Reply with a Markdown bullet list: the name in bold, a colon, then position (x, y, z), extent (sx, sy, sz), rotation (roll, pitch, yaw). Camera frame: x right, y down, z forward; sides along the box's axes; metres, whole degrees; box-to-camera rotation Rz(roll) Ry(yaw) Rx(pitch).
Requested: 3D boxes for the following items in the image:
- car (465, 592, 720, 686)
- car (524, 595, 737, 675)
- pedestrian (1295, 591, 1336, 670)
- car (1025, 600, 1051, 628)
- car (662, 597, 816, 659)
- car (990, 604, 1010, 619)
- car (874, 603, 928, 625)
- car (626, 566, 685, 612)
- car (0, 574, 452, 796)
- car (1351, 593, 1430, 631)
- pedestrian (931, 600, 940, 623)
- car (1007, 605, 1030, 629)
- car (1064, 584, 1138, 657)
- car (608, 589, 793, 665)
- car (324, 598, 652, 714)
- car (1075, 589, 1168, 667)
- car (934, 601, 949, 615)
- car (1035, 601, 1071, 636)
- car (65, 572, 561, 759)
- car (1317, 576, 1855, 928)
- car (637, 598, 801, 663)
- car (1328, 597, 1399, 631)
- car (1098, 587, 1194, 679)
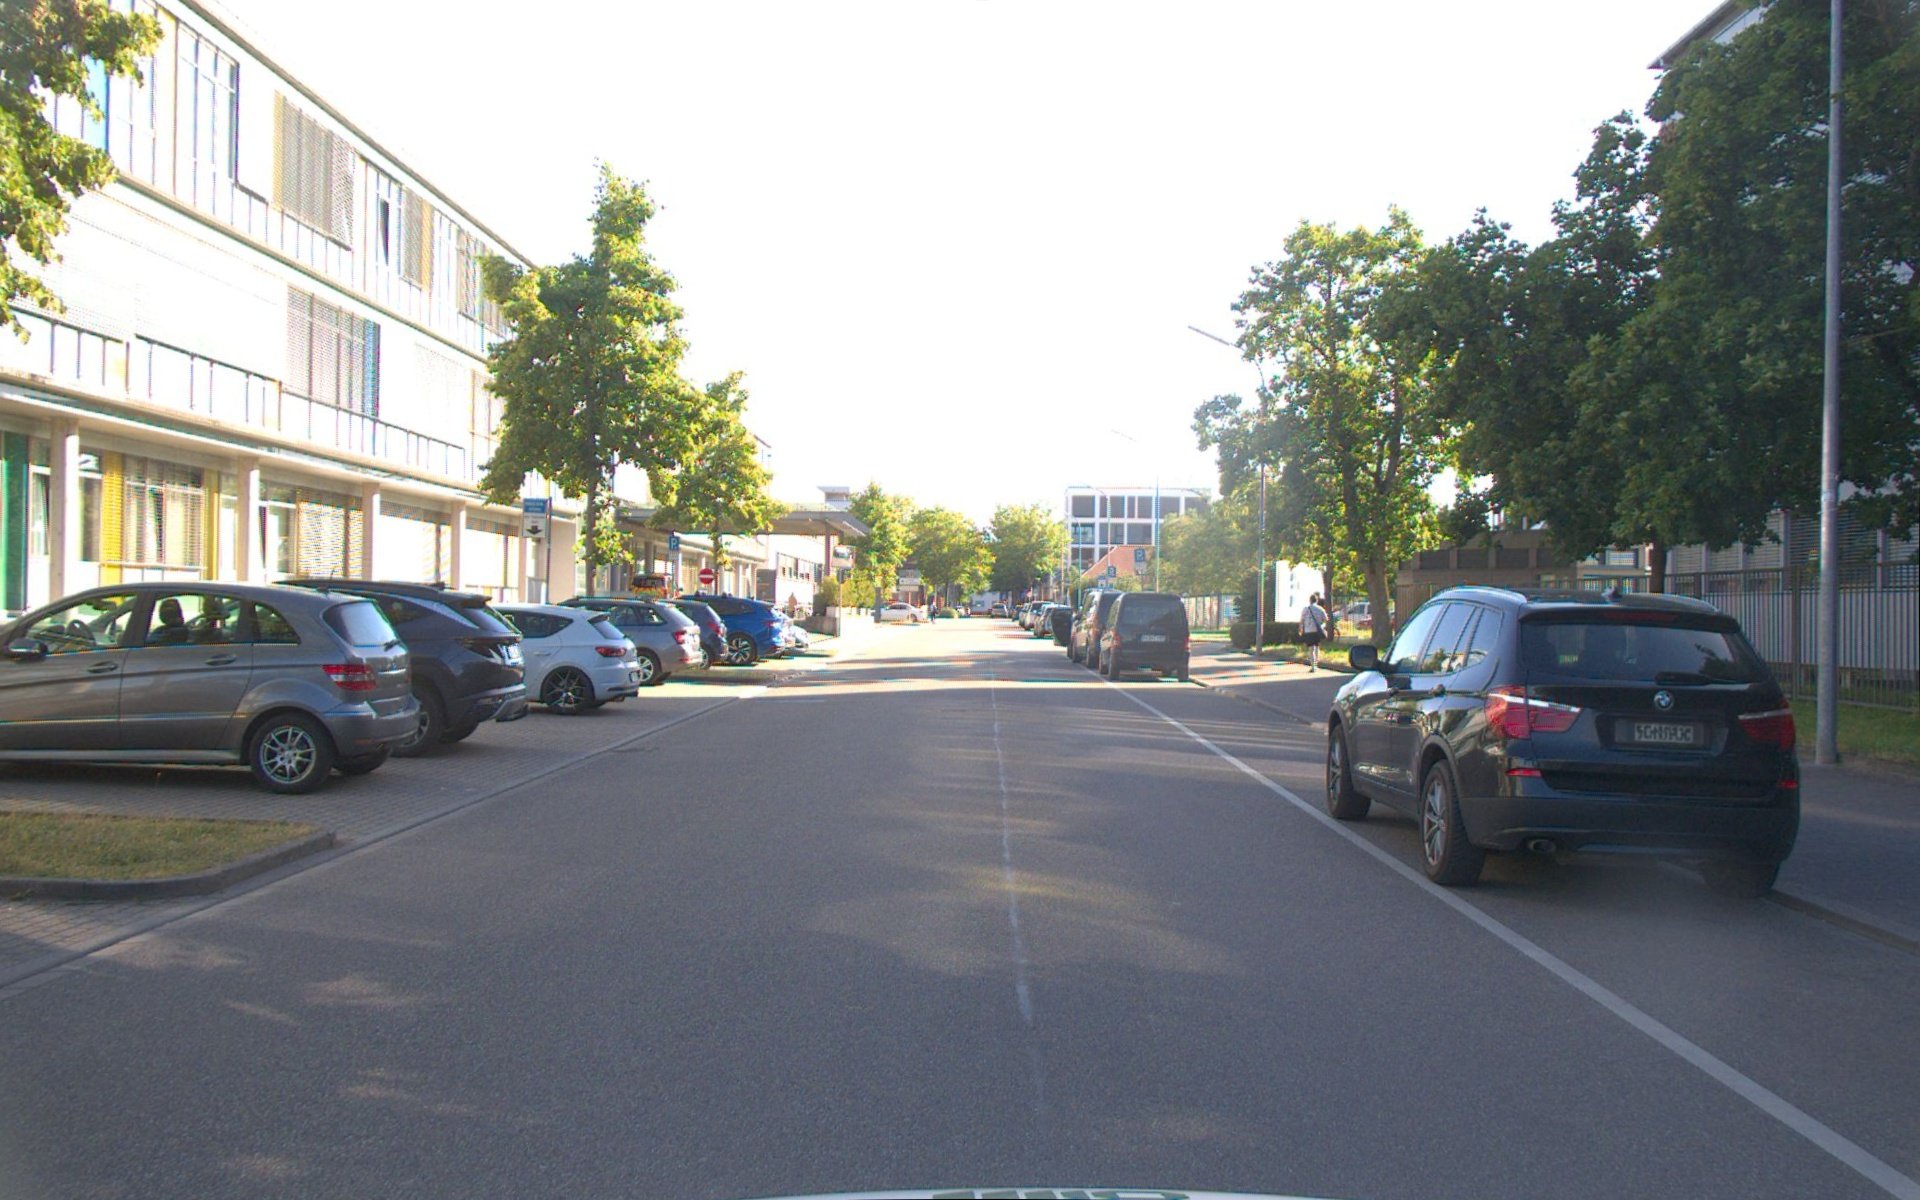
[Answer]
- **car**: position (-6.491, 0.672, 29.544), extent (4.130, 1.488, 1.871), rotation (2, 0, -3)
- **car**: position (-6.891, 0.719, 34.959), extent (4.130, 1.512, 1.871), rotation (2, 0, -3)
- **pedestrian**: position (7.833, 0.663, 36.419), extent (0.684, 1.690, 0.752), rotation (-2, 0, 0)
- **car**: position (4.527, 0.812, 96.633), extent (1.406, 1.588, 3.042), rotation (1, 0, 1)
- **car**: position (-5.893, 0.743, 44.482), extent (3.906, 1.579, 1.999), rotation (1, 0, -2)
- **car**: position (4.198, 1.182, 173.838), extent (1.706, 1.570, 4.003), rotation (1, 0, 7)
- **car**: position (-4.388, 1.044, 123.185), extent (3.904, 1.546, 2.000), rotation (1, -1, 1)
- **car**: position (-14.400, -0.492, 78.412), extent (1.952, 2.049, 4.000), rotation (1, -1, 1)
- **car**: position (-6.485, 0.651, 13.773), extent (3.907, 1.635, 1.871), rotation (2, 0, -3)
- **car**: position (24.360, 0.678, 93.747), extent (3.908, 2.049, 1.998), rotation (1, -1, -4)
- **pedestrian**: position (-1.795, 0.819, 121.072), extent (0.606, 1.652, 0.716), rotation (-1, 0, 0)
- **car**: position (5.260, 1.517, 148.300), extent (1.952, 2.049, 4.000), rotation (1, -1, 1)
- **car**: position (4.057, 0.571, 47.998), extent (1.836, 2.013, 4.000), rotation (-1, 0, 1)
- **car**: position (-6.153, 0.629, 39.541), extent (4.130, 1.631, 1.871), rotation (2, 0, -3)
- **car**: position (-6.268, 0.728, 22.303), extent (3.907, 1.382, 1.742), rotation (2, 0, -3)
- **car**: position (4.017, 0.680, 41.750), extent (1.952, 1.855, 4.198), rotation (-1, 0, 1)
- **car**: position (-2.154, 0.908, 189.527), extent (1.692, 1.563, 3.999), rotation (0, 0, -1)
- **car**: position (4.217, 0.815, 75.076), extent (1.466, 1.505, 3.650), rotation (-1, 0, 1)
- **car**: position (-6.372, 0.632, 16.727), extent (4.162, 1.640, 2.047), rotation (2, 0, -3)
- **car**: position (3.614, 0.728, 10.547), extent (1.774, 1.695, 4.593), rotation (2, 1, 2)
- **car**: position (-6.064, 0.752, 41.975), extent (3.906, 1.579, 1.999), rotation (0, 0, -2)
- **car**: position (25.225, 0.918, 103.518), extent (3.906, 2.049, 1.999), rotation (1, -1, -2)
- **car**: position (3.935, 0.674, 35.509), extent (1.697, 1.862, 3.905), rotation (0, 0, 1)
